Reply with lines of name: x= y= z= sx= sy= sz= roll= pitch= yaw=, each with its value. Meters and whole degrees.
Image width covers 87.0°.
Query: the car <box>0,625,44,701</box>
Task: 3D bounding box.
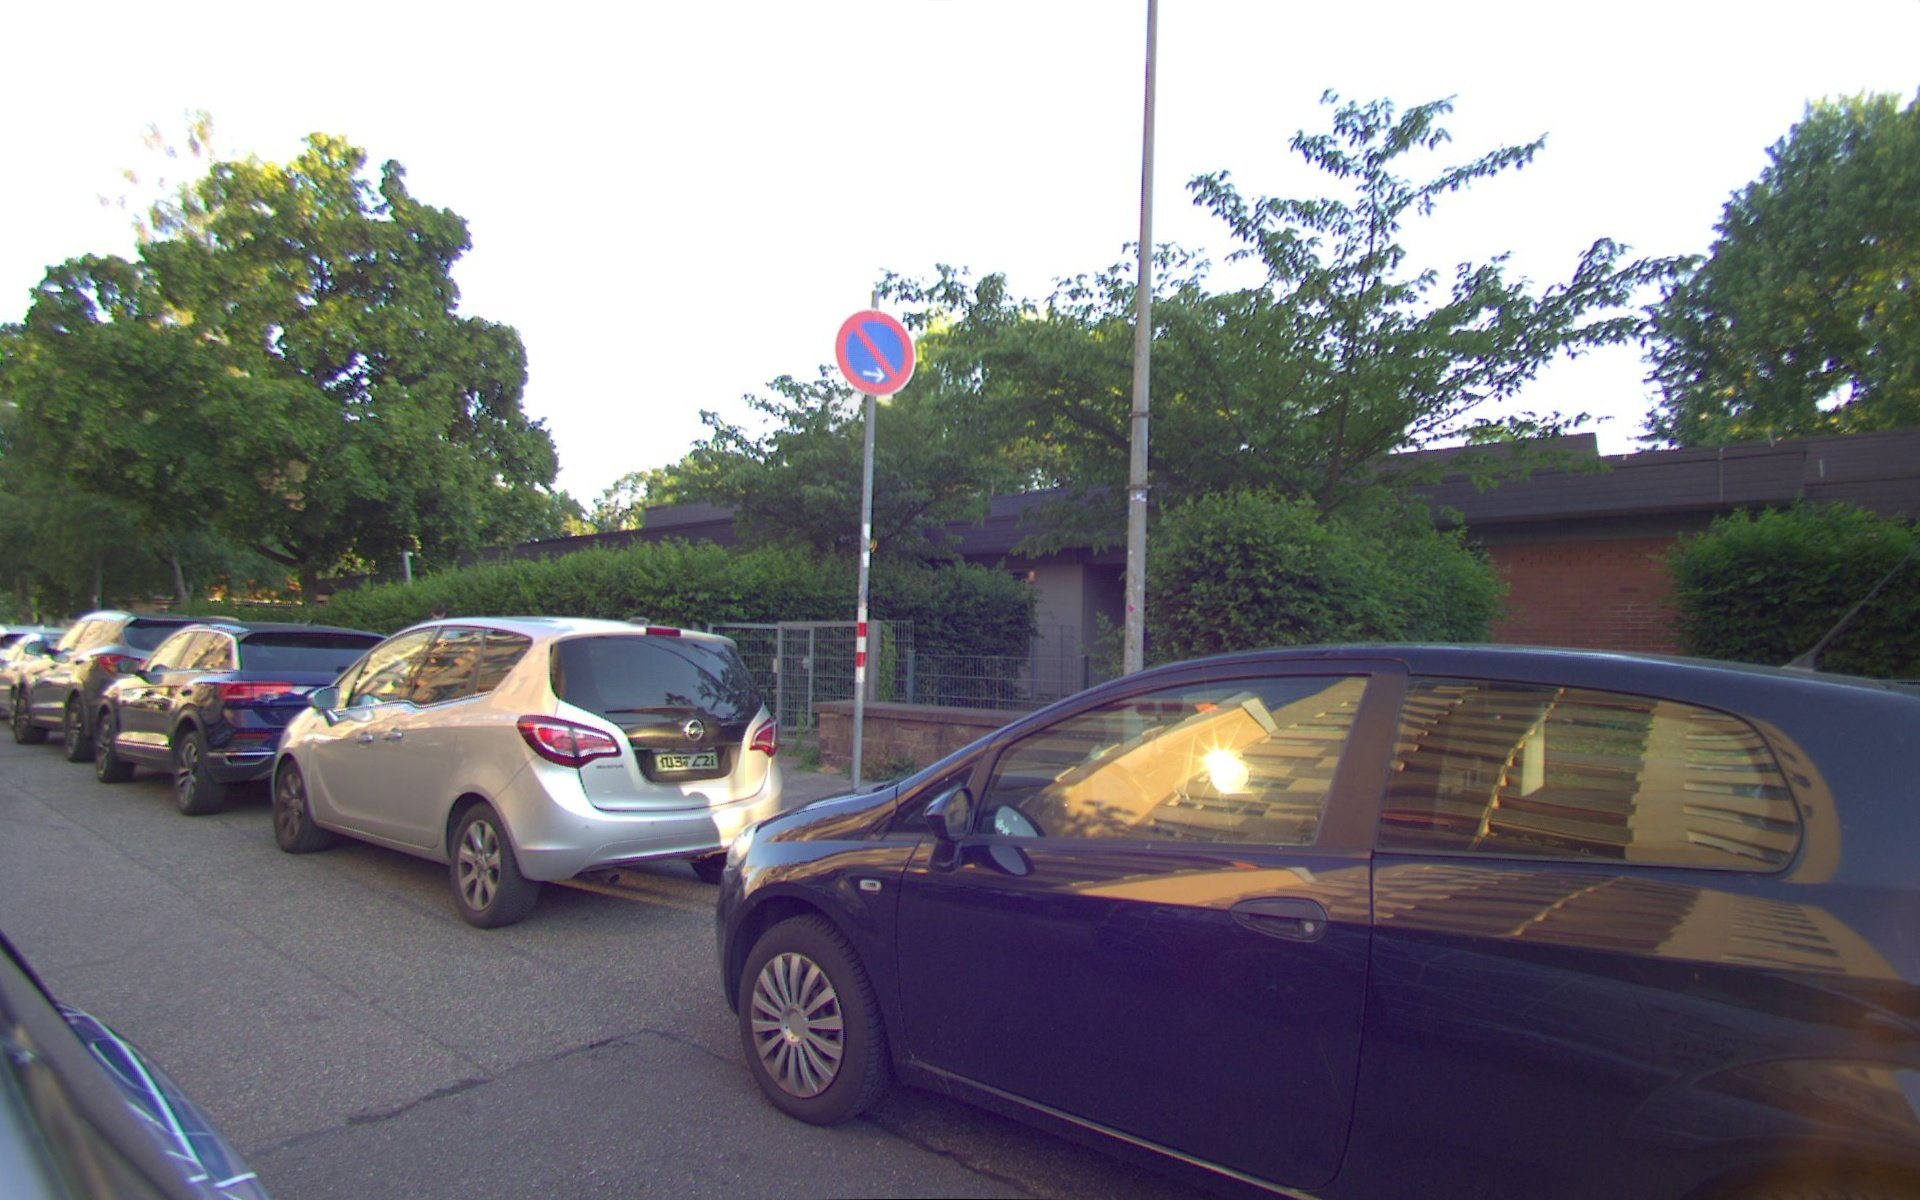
car: x=-22.302 y=1.400 z=22.952 sx=3.978 sy=1.644 sz=1.715 roll=-2 pitch=-5 yaw=41

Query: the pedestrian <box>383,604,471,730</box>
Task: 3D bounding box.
pedestrian: x=-7.765 y=0.949 z=14.741 sx=0.749 sy=1.745 sz=0.890 roll=-2 pitch=-1 yaw=38

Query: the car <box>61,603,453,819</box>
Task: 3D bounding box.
car: x=-6.609 y=0.912 z=9.365 sx=4.160 sy=1.579 sz=1.717 roll=-2 pitch=-5 yaw=37

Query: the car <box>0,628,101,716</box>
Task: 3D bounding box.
car: x=-18.304 y=1.344 z=19.486 sx=4.273 sy=1.555 sz=1.742 roll=-2 pitch=-5 yaw=37

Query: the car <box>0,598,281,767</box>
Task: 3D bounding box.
car: x=-10.271 y=0.959 z=12.532 sx=4.316 sy=1.743 sz=1.717 roll=-2 pitch=-5 yaw=37

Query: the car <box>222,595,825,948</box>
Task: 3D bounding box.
car: x=-2.960 y=0.868 z=6.513 sx=4.123 sy=1.579 sz=1.717 roll=-2 pitch=-5 yaw=37

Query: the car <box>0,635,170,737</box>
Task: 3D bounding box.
car: x=-14.483 y=1.312 z=16.273 sx=4.280 sy=1.438 sz=1.717 roll=-2 pitch=-5 yaw=37

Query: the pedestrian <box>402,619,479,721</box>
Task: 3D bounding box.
pedestrian: x=-8.116 y=1.068 z=15.807 sx=0.900 sy=1.519 sz=0.741 roll=-2 pitch=-1 yaw=38

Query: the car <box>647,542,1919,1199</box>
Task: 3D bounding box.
car: x=0.988 y=0.785 z=2.860 sx=3.691 sy=1.579 sz=1.717 roll=-2 pitch=-5 yaw=37
